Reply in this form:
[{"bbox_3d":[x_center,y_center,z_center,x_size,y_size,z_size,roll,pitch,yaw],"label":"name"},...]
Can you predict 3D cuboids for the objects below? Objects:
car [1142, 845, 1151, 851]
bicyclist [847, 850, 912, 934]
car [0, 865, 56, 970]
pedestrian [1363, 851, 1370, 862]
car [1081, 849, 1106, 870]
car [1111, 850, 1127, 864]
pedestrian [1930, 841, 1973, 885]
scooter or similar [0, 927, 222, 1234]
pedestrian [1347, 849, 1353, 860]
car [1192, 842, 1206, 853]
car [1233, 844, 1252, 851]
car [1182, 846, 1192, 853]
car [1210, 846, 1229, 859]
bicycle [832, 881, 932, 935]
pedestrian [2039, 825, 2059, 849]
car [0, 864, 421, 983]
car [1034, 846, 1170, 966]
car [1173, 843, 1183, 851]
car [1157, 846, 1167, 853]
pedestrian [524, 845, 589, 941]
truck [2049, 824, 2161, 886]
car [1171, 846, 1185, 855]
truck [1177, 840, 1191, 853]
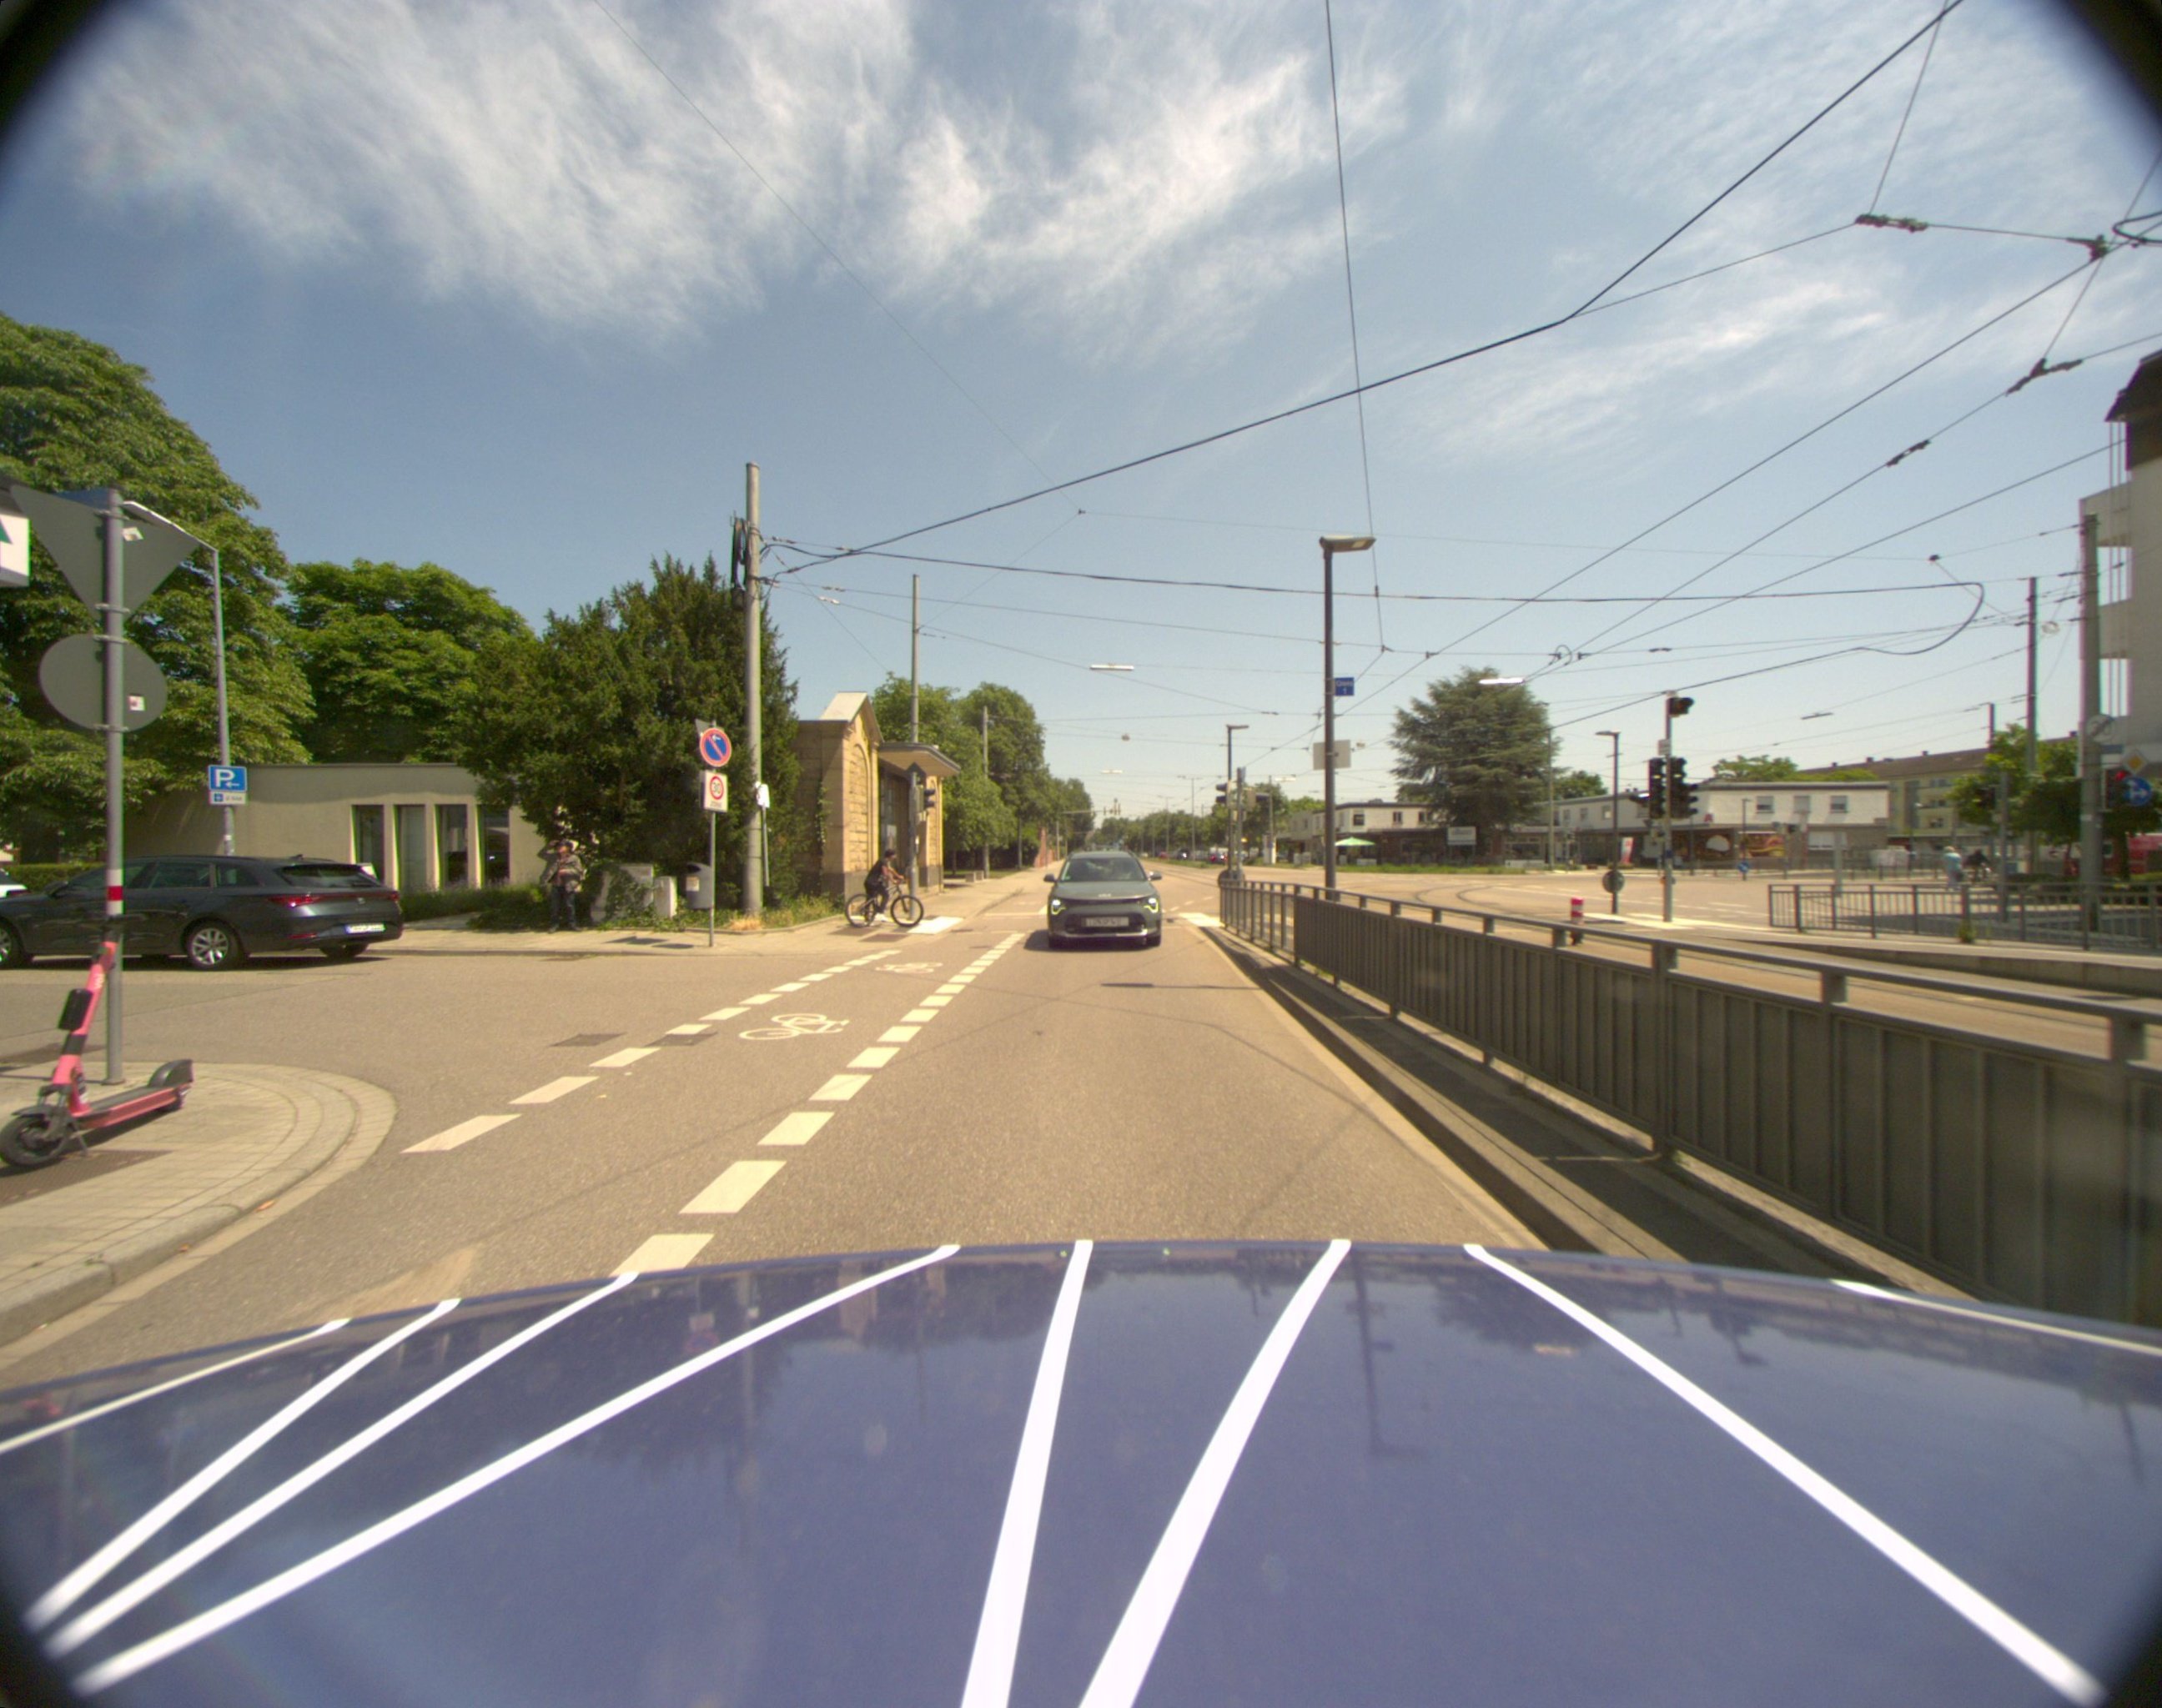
[{"bbox_3d":[18.428,-1.657,213.591,1.999,1.544,4.137,2,1,-3],"label":"car"},{"bbox_3d":[-4.104,0.765,15.497,0.832,1.609,0.862,5,1,41],"label":"bicyclist"},{"bbox_3d":[-16.785,0.851,9.980,4.337,1.422,1.711,0,-2,1],"label":"car"},{"bbox_3d":[30.094,0.277,80.139,0.518,1.121,0.674,0,1,1],"label":"pedestrian"},{"bbox_3d":[1.053,0.447,63.116,1.998,1.652,3.999,0,1,1],"label":"car"},{"bbox_3d":[4.193,0.275,83.811,1.620,1.413,3.654,1,1,0],"label":"car"},{"bbox_3d":[33.351,0.333,29.120,0.700,1.687,0.808,0,1,9],"label":"pedestrian"},{"bbox_3d":[-5.069,1.034,3.837,0.341,1.171,1.465,-1,1,-23],"label":"scooter or similar"},{"bbox_3d":[30.311,0.016,85.641,0.518,1.192,0.674,0,1,1],"label":"pedestrian"},{"bbox_3d":[21.393,-1.178,137.900,1.998,1.873,4.661,0,1,1],"label":"car"},{"bbox_3d":[33.084,-1.388,155.820,3.414,1.497,1.602,0,1,-4],"label":"car"},{"bbox_3d":[21.552,-0.999,154.653,1.674,1.379,3.669,0,1,3],"label":"car"},{"bbox_3d":[17.250,-0.263,94.950,1.798,1.570,4.495,0,1,3],"label":"car"},{"bbox_3d":[-4.045,1.087,15.573,0.668,0.997,1.868,4,1,41],"label":"bicycle"},{"bbox_3d":[76.839,-1.318,60.303,0.648,1.891,0.679,0,1,0],"label":"pedestrian"},{"bbox_3d":[-11.554,0.870,10.007,4.236,1.422,1.711,0,-2,1],"label":"car"},{"bbox_3d":[0.330,0.732,12.445,1.789,1.561,4.185,-3,-1,1],"label":"car"},{"bbox_3d":[22.314,-1.616,174.358,1.681,1.963,4.508,0,1,0],"label":"car"},{"bbox_3d":[17.123,-0.940,160.745,1.629,1.475,3.827,0,1,-4],"label":"car"},{"bbox_3d":[-8.877,0.649,12.882,0.603,1.582,0.629,-1,2,1],"label":"pedestrian"},{"bbox_3d":[47.356,0.046,34.051,5.038,2.683,2.187,0,1,1],"label":"truck"},{"bbox_3d":[16.398,-0.610,128.317,1.714,1.430,3.864,0,1,-2],"label":"car"},{"bbox_3d":[21.764,-1.602,160.725,2.225,2.527,4.928,0,1,1],"label":"truck"}]
